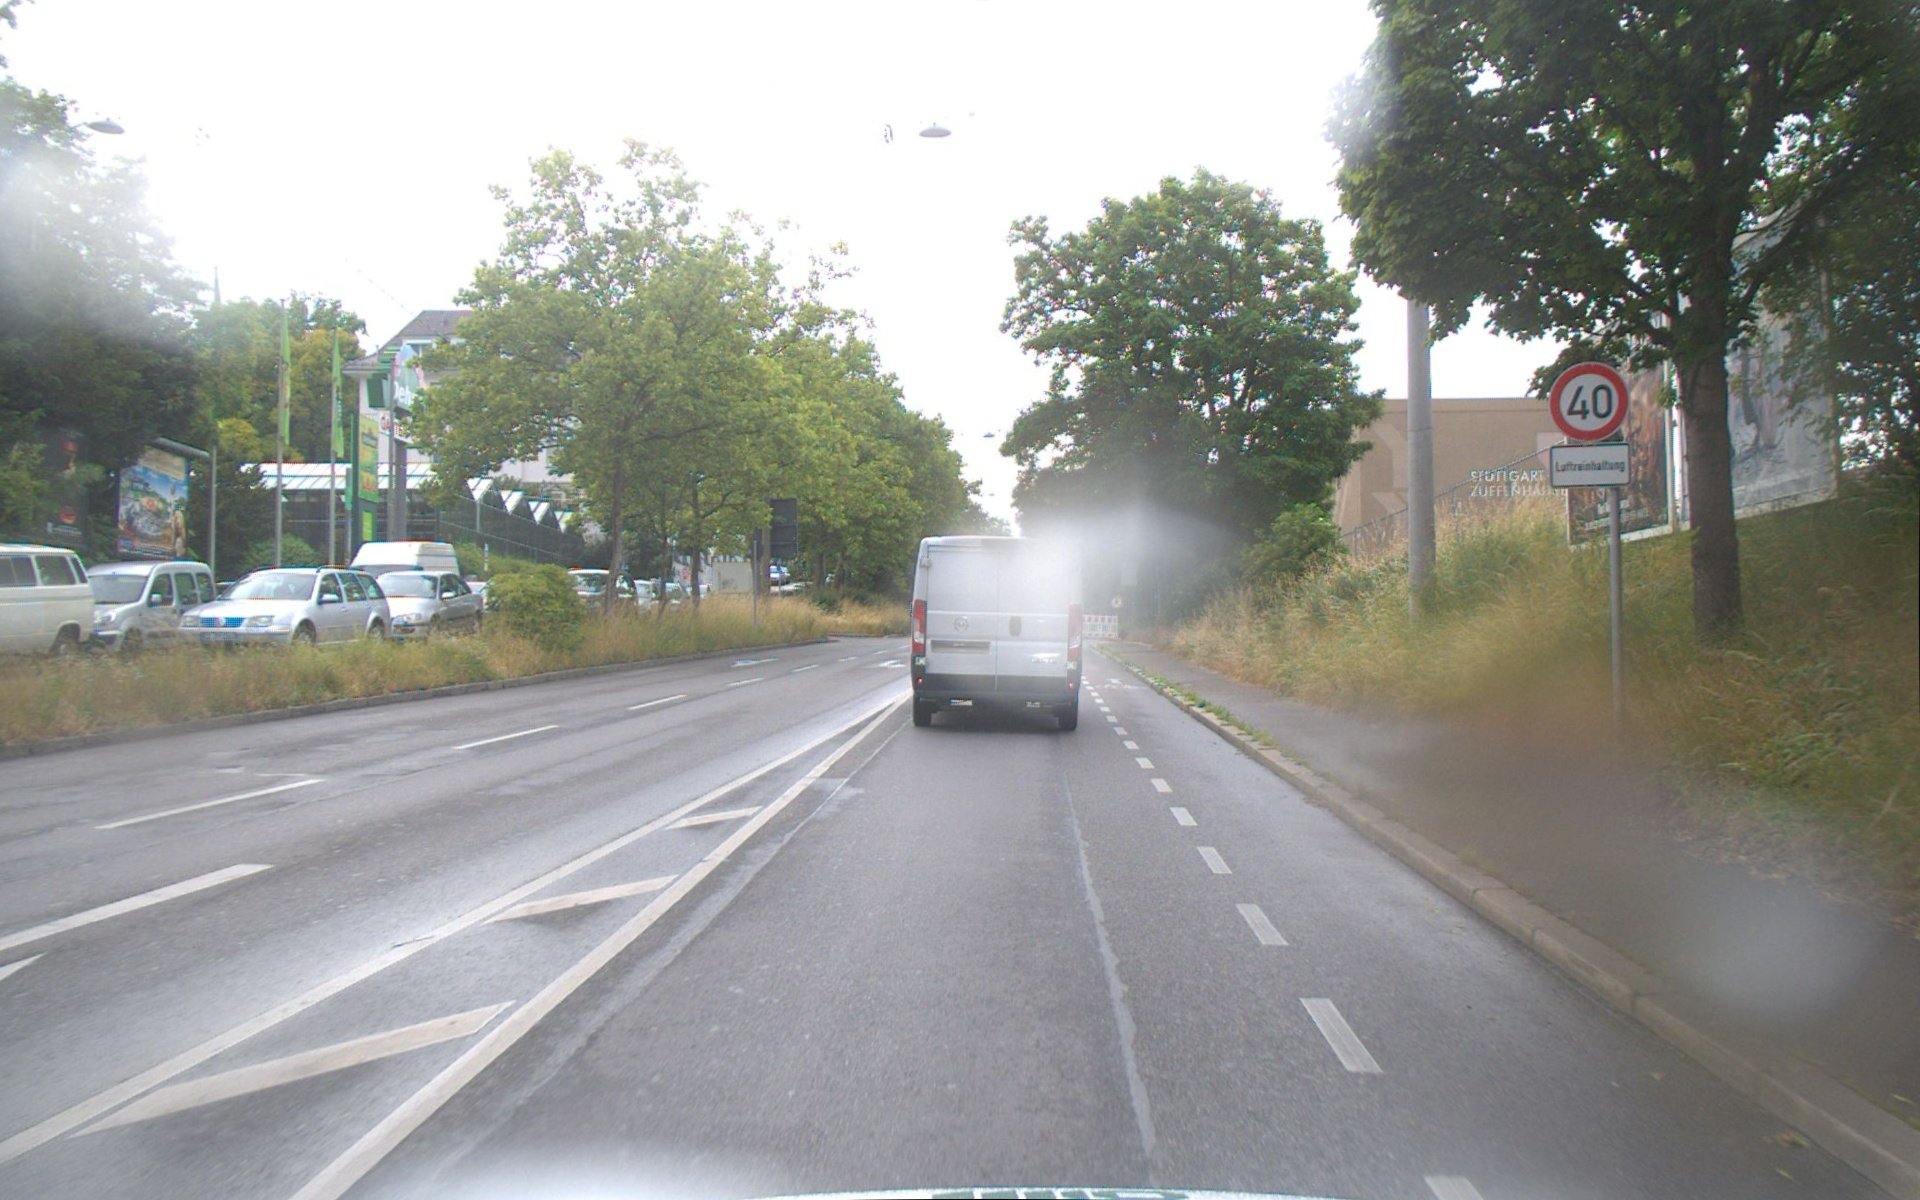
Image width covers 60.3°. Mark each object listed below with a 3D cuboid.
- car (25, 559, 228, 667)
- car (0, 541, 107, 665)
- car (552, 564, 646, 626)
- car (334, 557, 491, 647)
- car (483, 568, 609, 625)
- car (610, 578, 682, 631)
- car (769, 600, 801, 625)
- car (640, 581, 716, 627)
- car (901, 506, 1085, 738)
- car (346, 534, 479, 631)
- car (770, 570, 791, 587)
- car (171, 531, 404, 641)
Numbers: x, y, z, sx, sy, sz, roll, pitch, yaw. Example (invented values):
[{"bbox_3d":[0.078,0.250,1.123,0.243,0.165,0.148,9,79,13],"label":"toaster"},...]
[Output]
[{"bbox_3d":[-14.309,0.184,28.622,1.559,1.725,3.781,-1,1,0],"label":"car"},{"bbox_3d":[-14.531,0.045,24.136,1.734,1.776,4.584,-1,1,0],"label":"car"},{"bbox_3d":[-9.429,-0.095,43.432,1.619,1.478,3.645,0,-2,1],"label":"car"},{"bbox_3d":[-10.170,0.011,31.014,1.559,1.567,3.992,-1,1,0],"label":"car"},{"bbox_3d":[-9.432,-0.078,38.003,1.662,1.226,4.220,0,0,2],"label":"car"},{"bbox_3d":[-9.199,0.173,48.682,1.332,1.419,3.707,0,-2,1],"label":"car"},{"bbox_3d":[-8.682,0.630,82.028,1.322,1.151,2.752,0,-2,-1],"label":"car"},{"bbox_3d":[-9.062,0.156,53.512,1.505,1.316,4.545,0,-2,2],"label":"car"},{"bbox_3d":[0.374,0.197,21.314,2.008,2.560,4.944,2,1,0],"label":"car"},{"bbox_3d":[-15.030,-0.490,45.765,1.923,2.486,5.654,-1,1,-2],"label":"car"},{"bbox_3d":[-15.832,-1.897,146.091,1.567,1.272,2.909,0,-2,-2],"label":"car"},{"bbox_3d":[-10.105,-0.225,25.232,1.613,1.504,4.445,-1,1,2],"label":"car"}]
